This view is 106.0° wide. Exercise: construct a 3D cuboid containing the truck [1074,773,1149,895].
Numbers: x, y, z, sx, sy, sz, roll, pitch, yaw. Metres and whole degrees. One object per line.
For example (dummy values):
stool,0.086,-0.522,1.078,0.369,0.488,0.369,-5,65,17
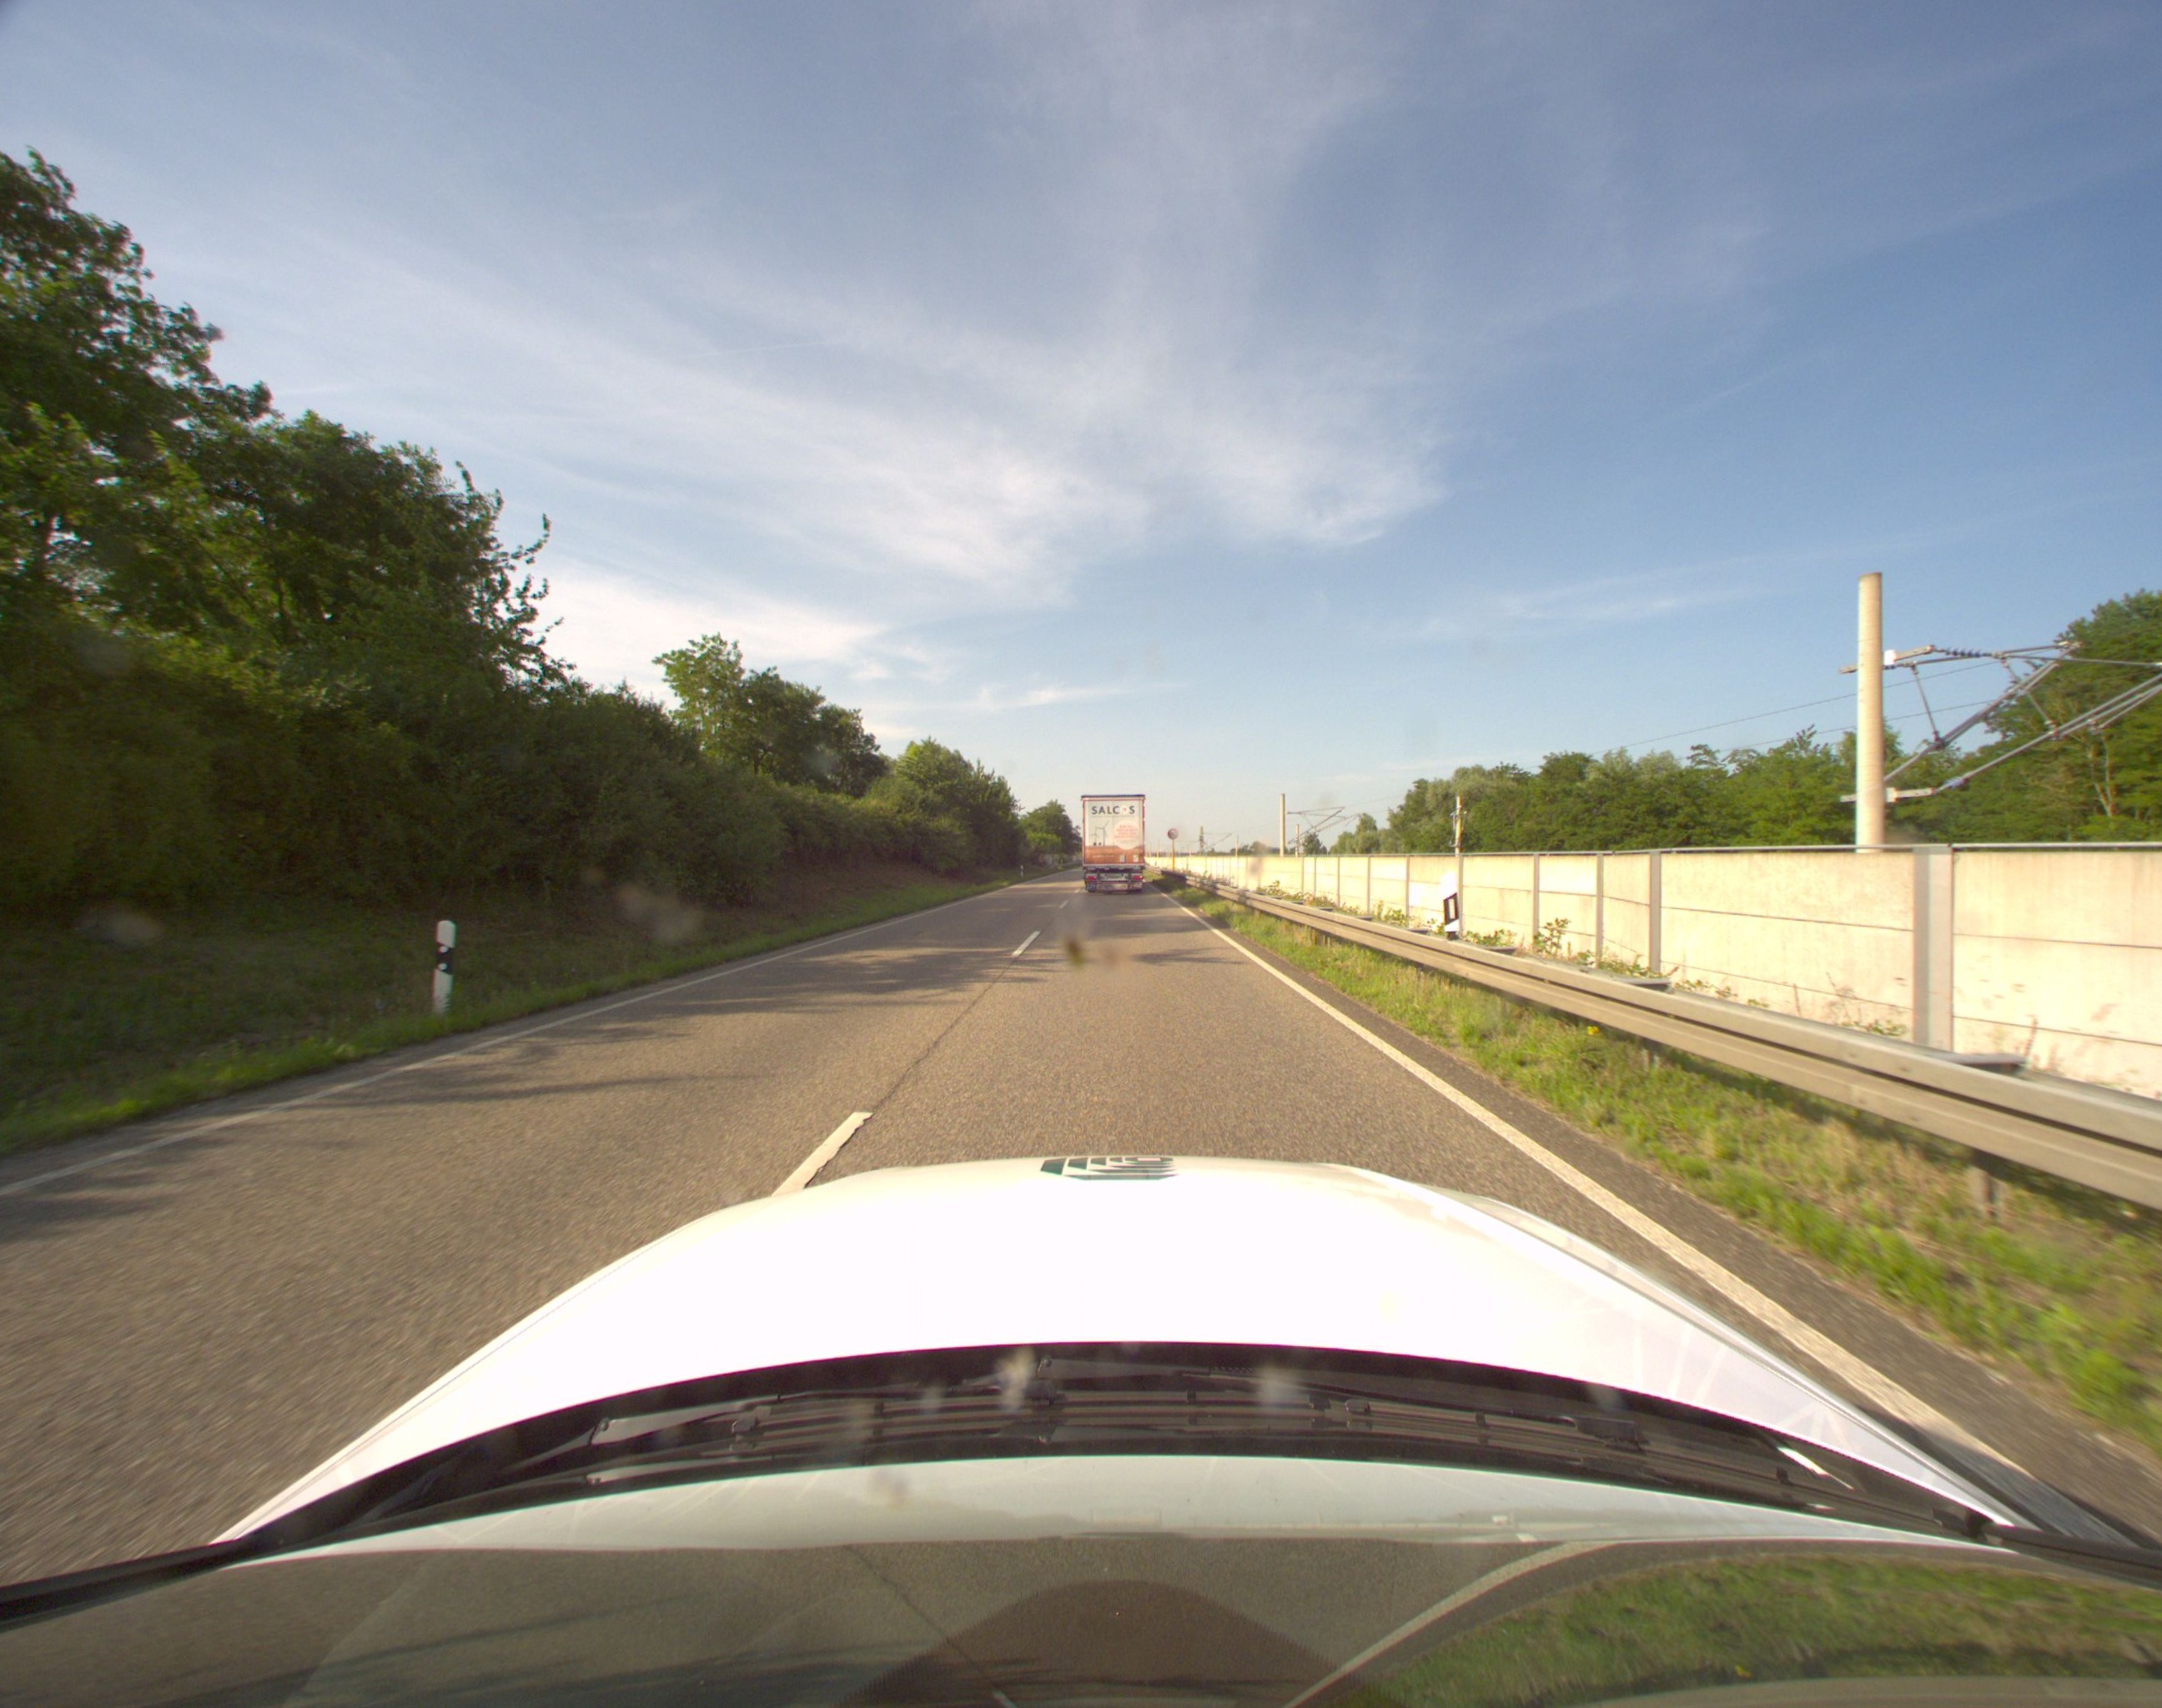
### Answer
truck,1.337,-0.753,38.855,3.022,4.920,11.684,0,-1,1
